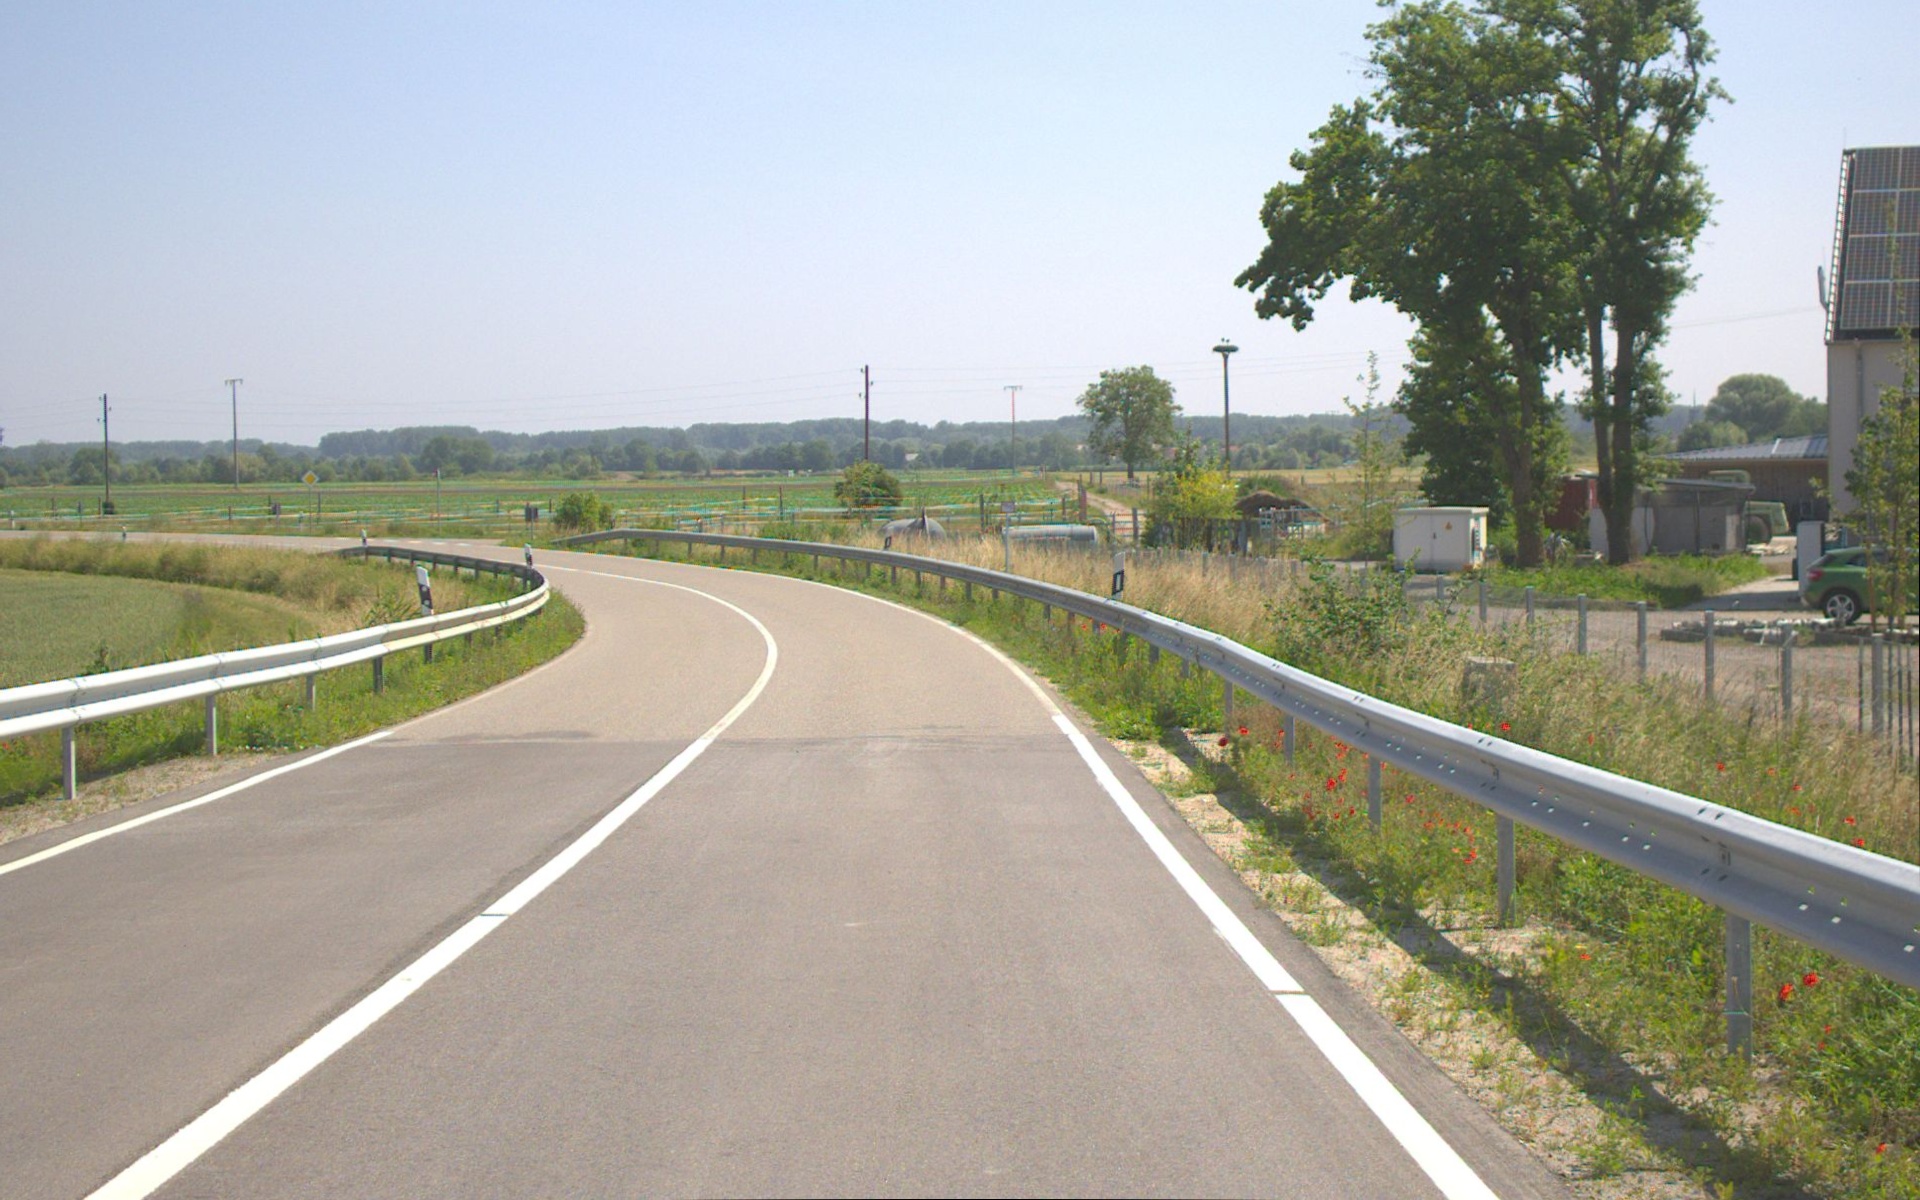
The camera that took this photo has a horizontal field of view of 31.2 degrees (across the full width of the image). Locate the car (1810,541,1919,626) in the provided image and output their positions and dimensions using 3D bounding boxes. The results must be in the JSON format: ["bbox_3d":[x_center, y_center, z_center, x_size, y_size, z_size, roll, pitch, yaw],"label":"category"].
[{"bbox_3d":[18.696,-0.294,66.081,4.364,1.575,1.932,2,1,20],"label":"car"}]
